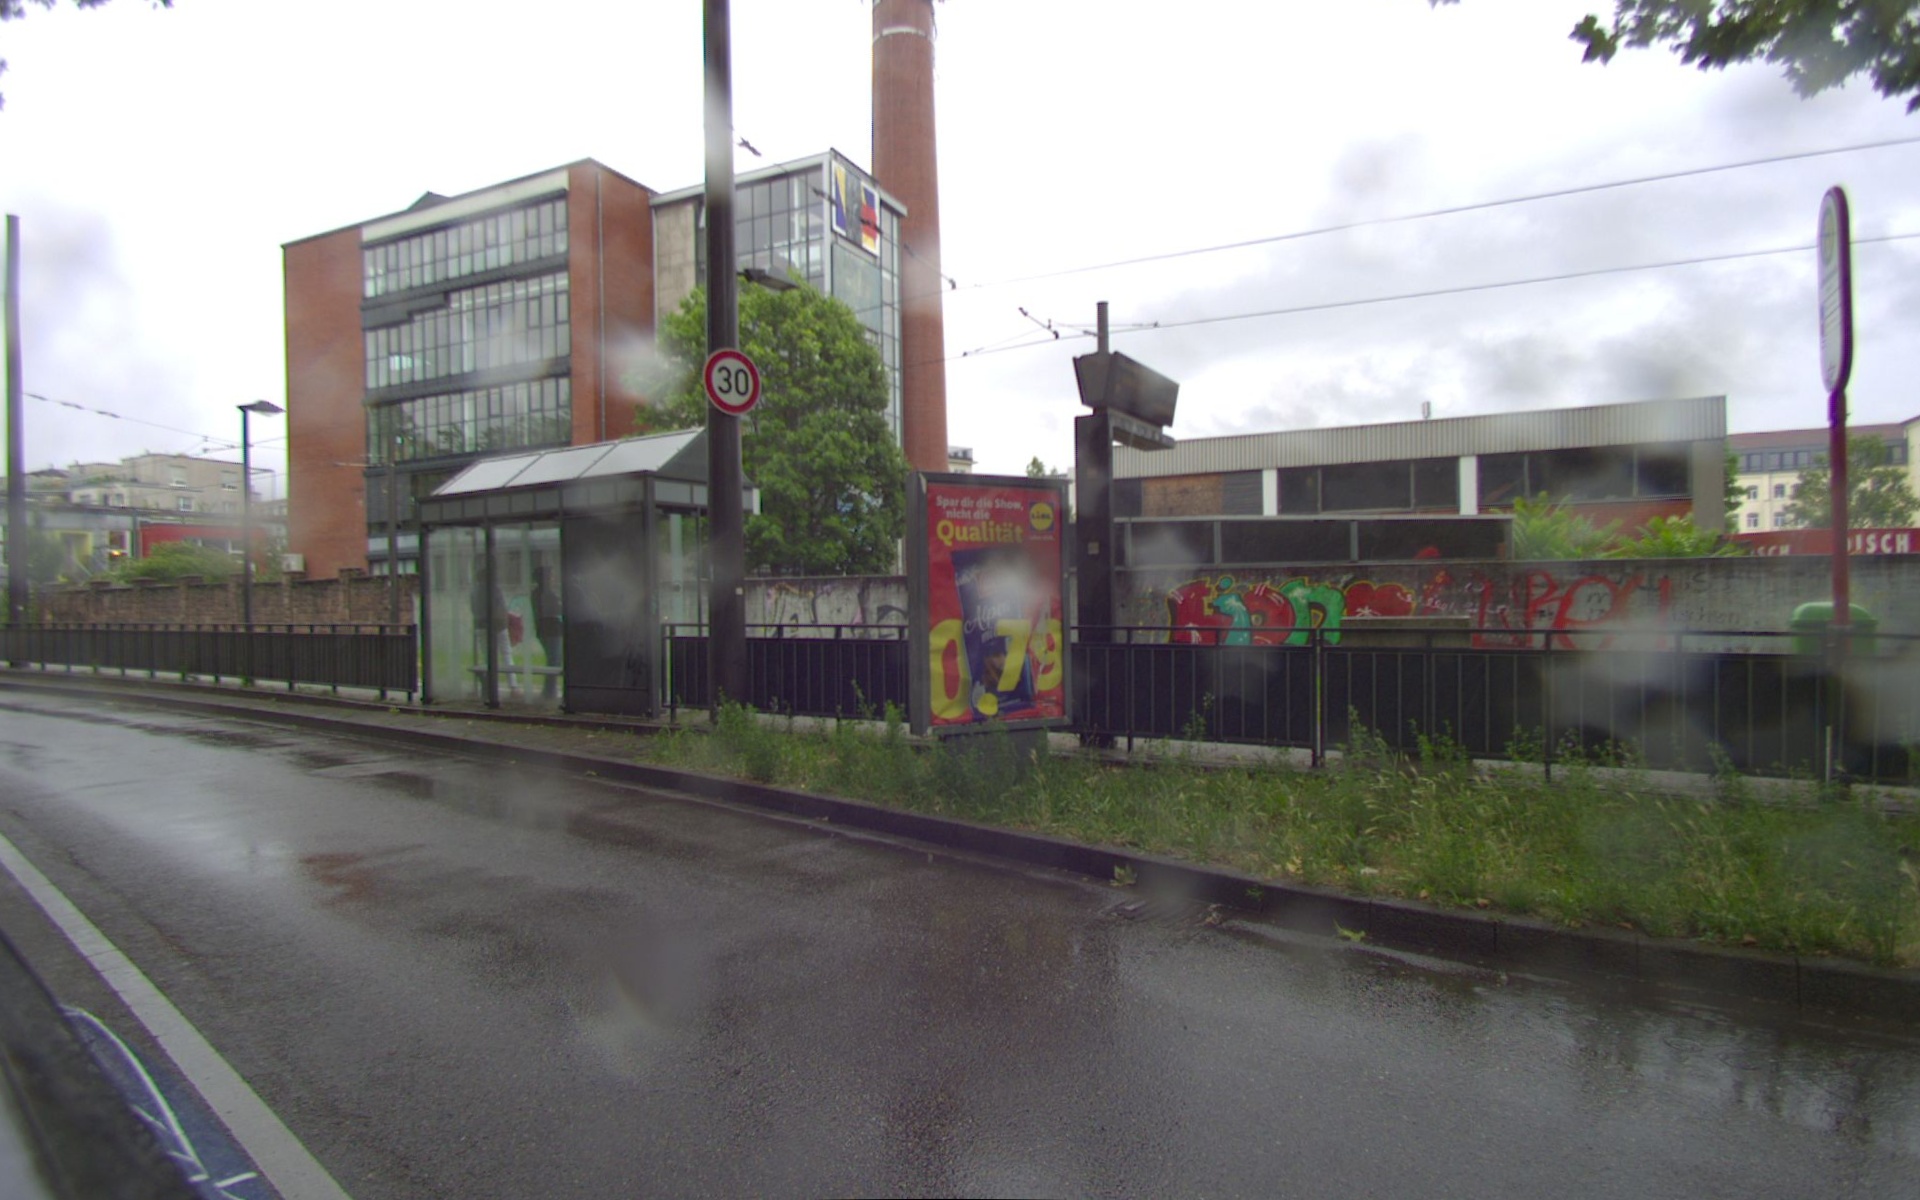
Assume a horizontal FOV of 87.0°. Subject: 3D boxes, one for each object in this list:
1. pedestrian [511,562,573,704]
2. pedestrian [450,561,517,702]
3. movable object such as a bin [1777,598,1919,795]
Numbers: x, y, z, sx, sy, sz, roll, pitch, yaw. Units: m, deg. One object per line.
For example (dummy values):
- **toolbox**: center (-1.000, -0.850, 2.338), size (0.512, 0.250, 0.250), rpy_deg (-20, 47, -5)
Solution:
- **pedestrian**: center (-5.249, 0.410, 12.735), size (0.560, 1.744, 0.583), rpy_deg (0, -2, -3)
- **pedestrian**: center (-6.044, 0.399, 12.858), size (0.560, 1.744, 0.583), rpy_deg (0, -2, -1)
- **movable object such as a bin**: center (5.220, 0.546, 5.956), size (0.528, 1.098, 0.414), rpy_deg (-1, -2, 25)
